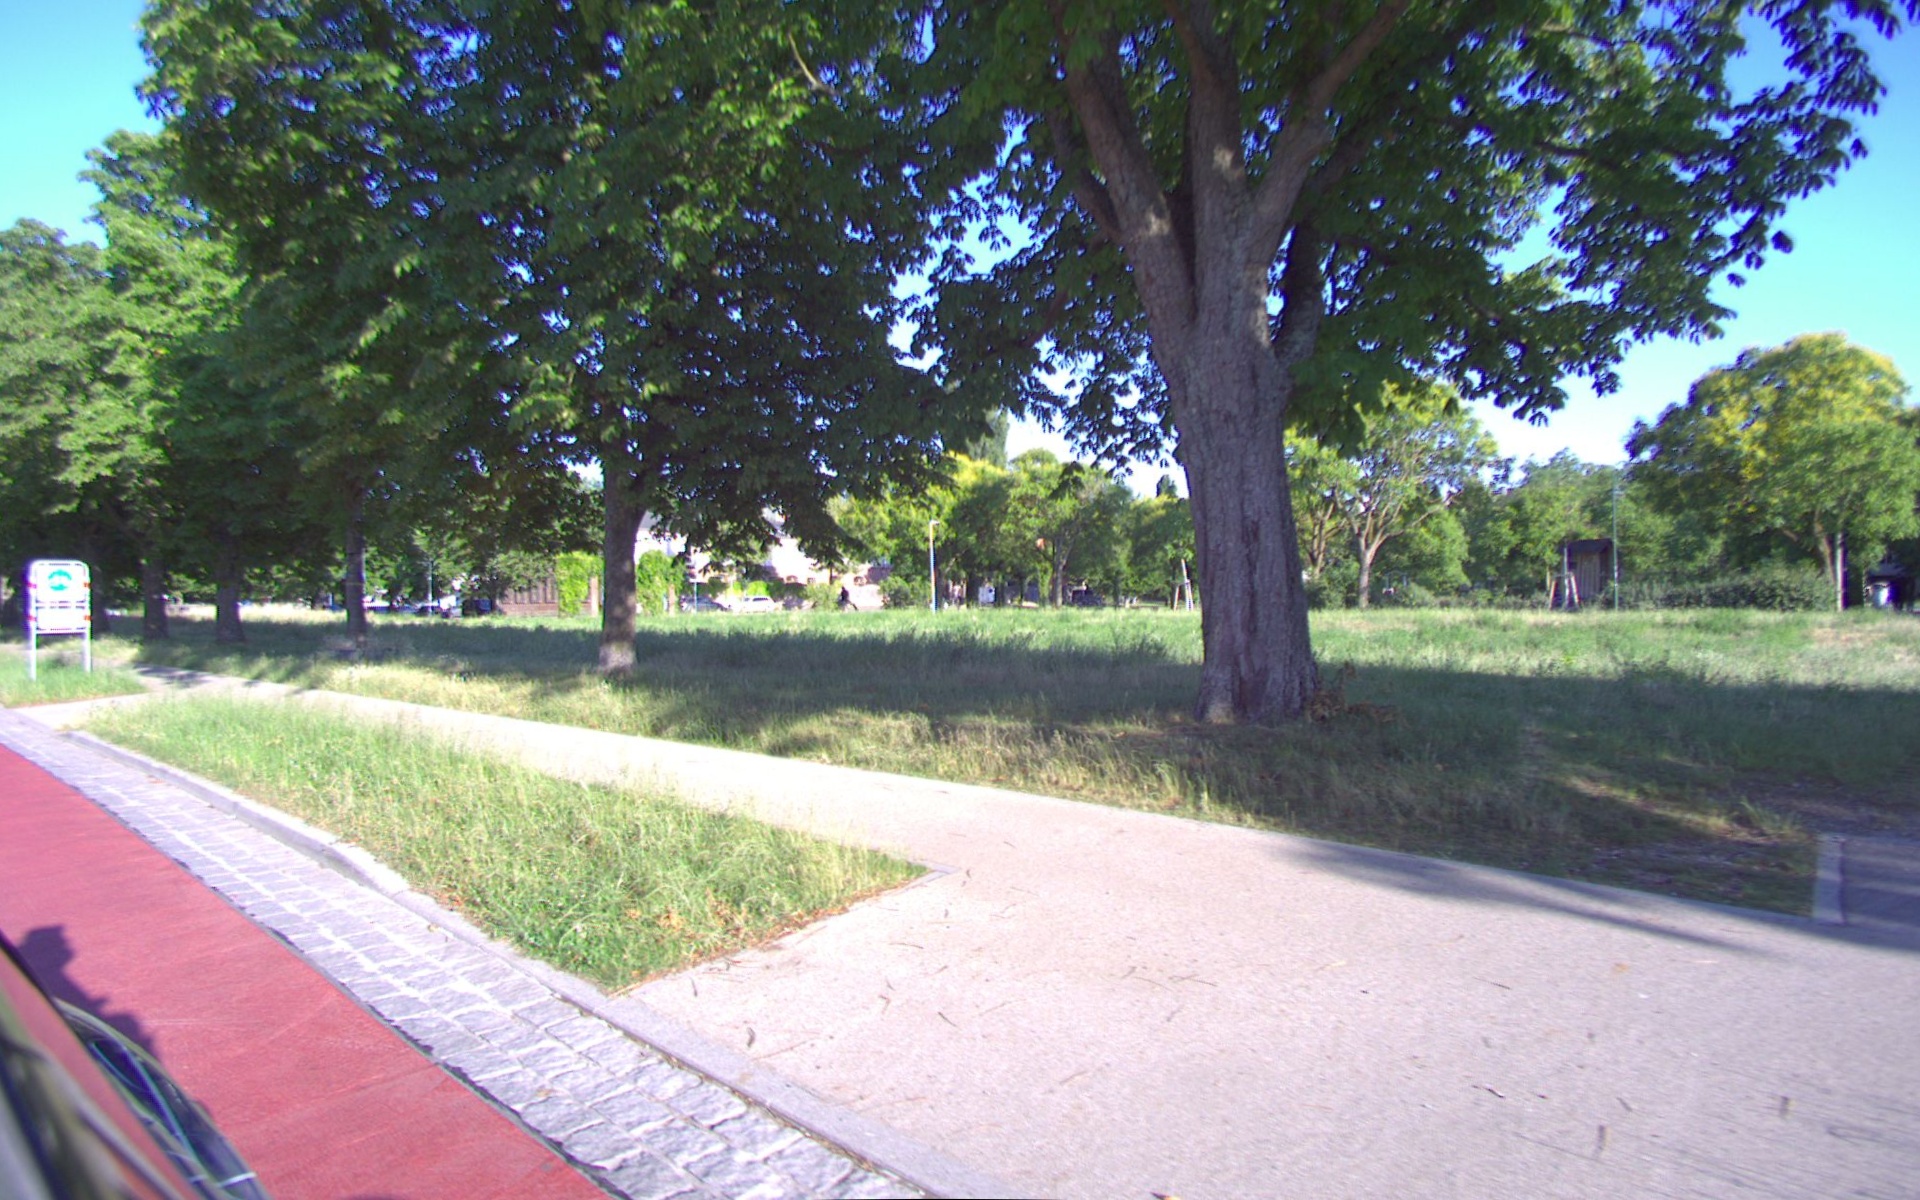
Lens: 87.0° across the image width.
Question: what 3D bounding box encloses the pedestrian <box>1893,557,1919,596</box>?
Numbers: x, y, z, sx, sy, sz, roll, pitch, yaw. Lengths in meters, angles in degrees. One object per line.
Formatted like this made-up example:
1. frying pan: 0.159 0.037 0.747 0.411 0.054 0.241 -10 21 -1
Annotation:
1. pedestrian: 42.695 -1.076 45.634 0.773 1.725 0.838 -2 2 -39

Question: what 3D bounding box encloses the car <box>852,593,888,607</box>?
1. car: -9.351 -0.030 104.946 1.586 1.289 3.589 0 2 42

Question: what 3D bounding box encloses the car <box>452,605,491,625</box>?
1. car: -39.426 1.156 81.672 3.639 1.492 1.564 0 2 42

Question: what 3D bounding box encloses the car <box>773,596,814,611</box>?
1. car: -15.771 0.282 95.845 1.586 1.289 3.589 0 2 42

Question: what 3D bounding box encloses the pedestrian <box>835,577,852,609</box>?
1. pedestrian: -6.585 -0.392 57.039 0.709 1.737 0.774 -1 1 13

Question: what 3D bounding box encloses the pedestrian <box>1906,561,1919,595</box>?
1. pedestrian: 43.595 -1.003 45.968 0.773 1.523 0.838 -2 2 -39

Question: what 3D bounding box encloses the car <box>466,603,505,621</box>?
1. car: -43.841 1.098 93.486 3.998 1.641 1.744 -1 1 41

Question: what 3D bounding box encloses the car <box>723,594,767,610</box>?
1. car: -19.253 0.176 90.622 1.586 1.289 3.589 0 2 42
